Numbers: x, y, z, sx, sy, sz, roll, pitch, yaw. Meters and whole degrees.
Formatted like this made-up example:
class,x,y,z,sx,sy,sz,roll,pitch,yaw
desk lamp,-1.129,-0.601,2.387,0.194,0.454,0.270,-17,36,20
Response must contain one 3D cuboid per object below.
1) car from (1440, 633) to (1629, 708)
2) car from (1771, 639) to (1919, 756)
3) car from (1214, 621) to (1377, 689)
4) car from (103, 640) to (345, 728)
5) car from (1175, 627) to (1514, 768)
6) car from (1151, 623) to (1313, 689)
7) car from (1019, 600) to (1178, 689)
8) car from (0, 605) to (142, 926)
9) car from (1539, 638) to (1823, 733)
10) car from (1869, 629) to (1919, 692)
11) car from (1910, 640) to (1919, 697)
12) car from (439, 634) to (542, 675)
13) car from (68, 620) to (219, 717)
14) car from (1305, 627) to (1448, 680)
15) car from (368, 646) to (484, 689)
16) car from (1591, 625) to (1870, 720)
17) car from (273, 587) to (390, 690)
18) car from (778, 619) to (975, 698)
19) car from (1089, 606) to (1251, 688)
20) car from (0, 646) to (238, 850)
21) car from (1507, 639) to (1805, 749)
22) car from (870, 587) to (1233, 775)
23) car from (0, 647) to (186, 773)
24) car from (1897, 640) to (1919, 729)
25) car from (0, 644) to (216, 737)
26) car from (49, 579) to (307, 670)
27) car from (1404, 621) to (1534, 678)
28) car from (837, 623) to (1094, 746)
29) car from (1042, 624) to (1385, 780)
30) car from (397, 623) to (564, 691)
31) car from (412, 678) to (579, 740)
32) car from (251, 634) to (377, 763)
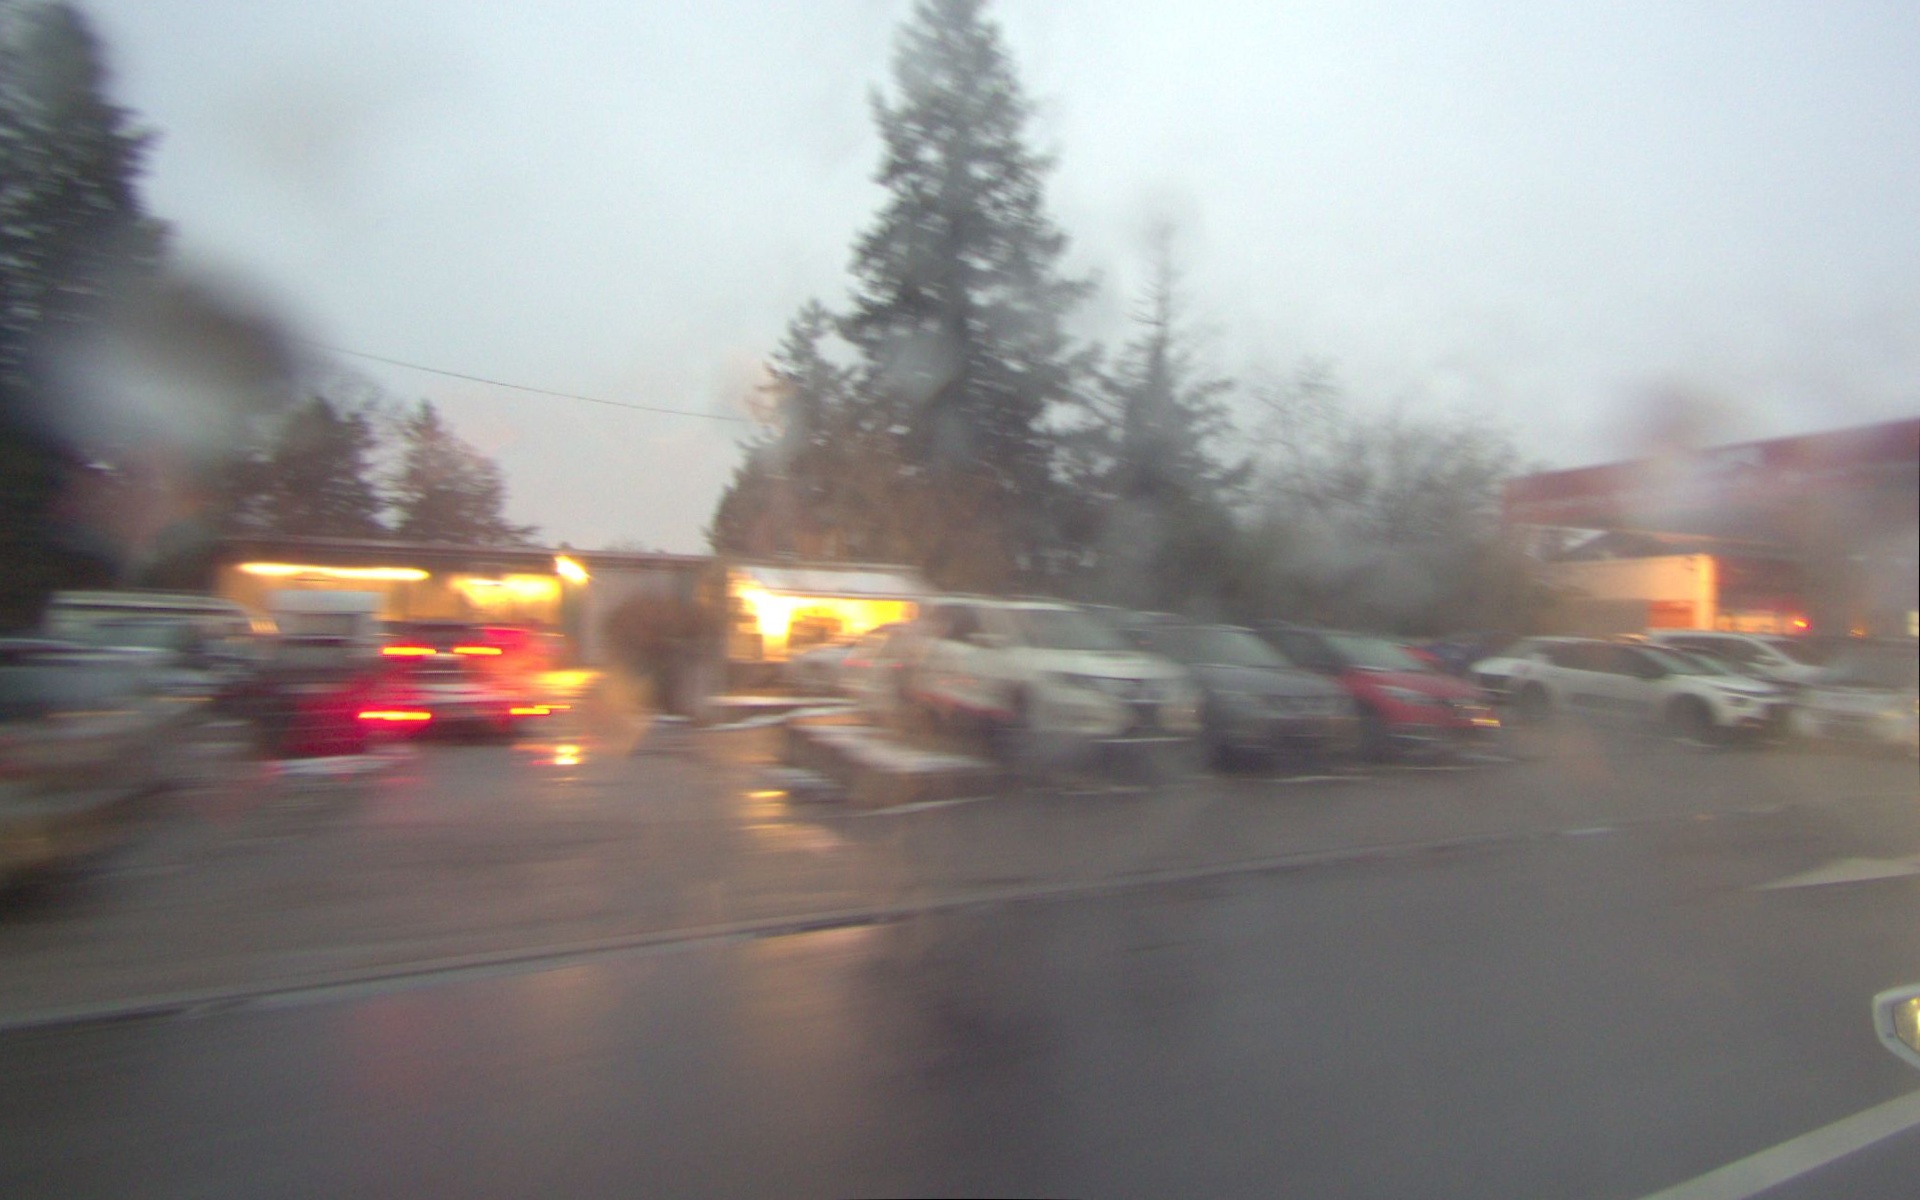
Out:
class,x,y,z,sx,sy,sz,roll,pitch,yaw
car,13.038,1.546,22.802,3.818,1.509,1.829,1,0,-25
car,13.695,1.376,14.854,2.975,1.563,1.513,1,-3,-26
car,8.806,1.393,26.700,1.932,1.597,3.975,1,-1,-25
car,-13.207,1.455,18.249,3.401,1.423,1.524,1,-1,-34
car,4.989,1.178,13.738,1.801,1.518,4.324,1,-1,-24
car,6.908,1.388,25.878,1.932,1.485,3.975,1,-1,-25
car,3.205,0.996,24.014,1.932,1.948,3.975,1,-1,-25
car,-6.402,0.859,5.401,2.824,1.666,1.171,1,-2,-18
car,13.047,1.478,18.442,1.815,1.363,3.846,2,0,-26
car,23.488,1.440,22.762,1.918,1.428,3.846,2,0,-26
car,25.401,1.703,23.801,1.815,1.424,3.846,2,-1,-26
car,-16.237,1.869,34.753,3.131,1.349,1.400,1,-2,-30
car,-15.894,1.283,19.746,1.670,1.705,3.664,1,-2,-30
car,11.477,1.442,27.899,1.600,1.275,3.561,1,-1,-23
car,-15.798,1.970,29.804,2.944,1.187,1.413,1,-1,-28
car,15.210,1.356,20.100,1.914,1.672,4.038,1,-2,-23
car,-15.588,0.904,24.971,2.242,2.311,4.207,1,-1,-32
car,-1.577,1.101,19.732,3.549,1.402,1.676,1,-1,8
car,5.081,1.096,24.858,1.932,1.832,3.975,1,-1,-25
car,-8.169,1.155,9.219,1.760,1.456,4.739,1,-3,-27
car,11.563,1.472,16.958,1.754,1.479,3.757,1,0,-27
car,0.787,0.774,11.569,1.986,1.699,4.514,1,-1,-29
car,-11.721,1.267,11.931,3.589,1.416,1.666,1,-3,-19
car,17.377,1.402,16.464,3.688,1.439,1.678,2,-1,-24
car,-13.815,1.388,15.958,3.136,1.349,1.398,1,-2,-35
car,-20.986,0.685,27.318,5.226,2.292,1.984,2,-1,-30
car,15.246,1.440,30.074,3.531,1.593,1.614,0,0,-24
car,0.104,1.243,15.625,3.660,1.699,1.663,2,-1,-28
car,2.881,1.091,12.505,1.966,1.518,4.327,1,-1,-22
car,-10.195,1.176,21.385,3.131,1.349,1.400,1,-2,-30
car,-7.128,1.644,15.439,2.238,0.807,0.988,2,-2,-30
car,-9.040,1.280,13.991,1.337,1.569,3.138,1,-3,-35
